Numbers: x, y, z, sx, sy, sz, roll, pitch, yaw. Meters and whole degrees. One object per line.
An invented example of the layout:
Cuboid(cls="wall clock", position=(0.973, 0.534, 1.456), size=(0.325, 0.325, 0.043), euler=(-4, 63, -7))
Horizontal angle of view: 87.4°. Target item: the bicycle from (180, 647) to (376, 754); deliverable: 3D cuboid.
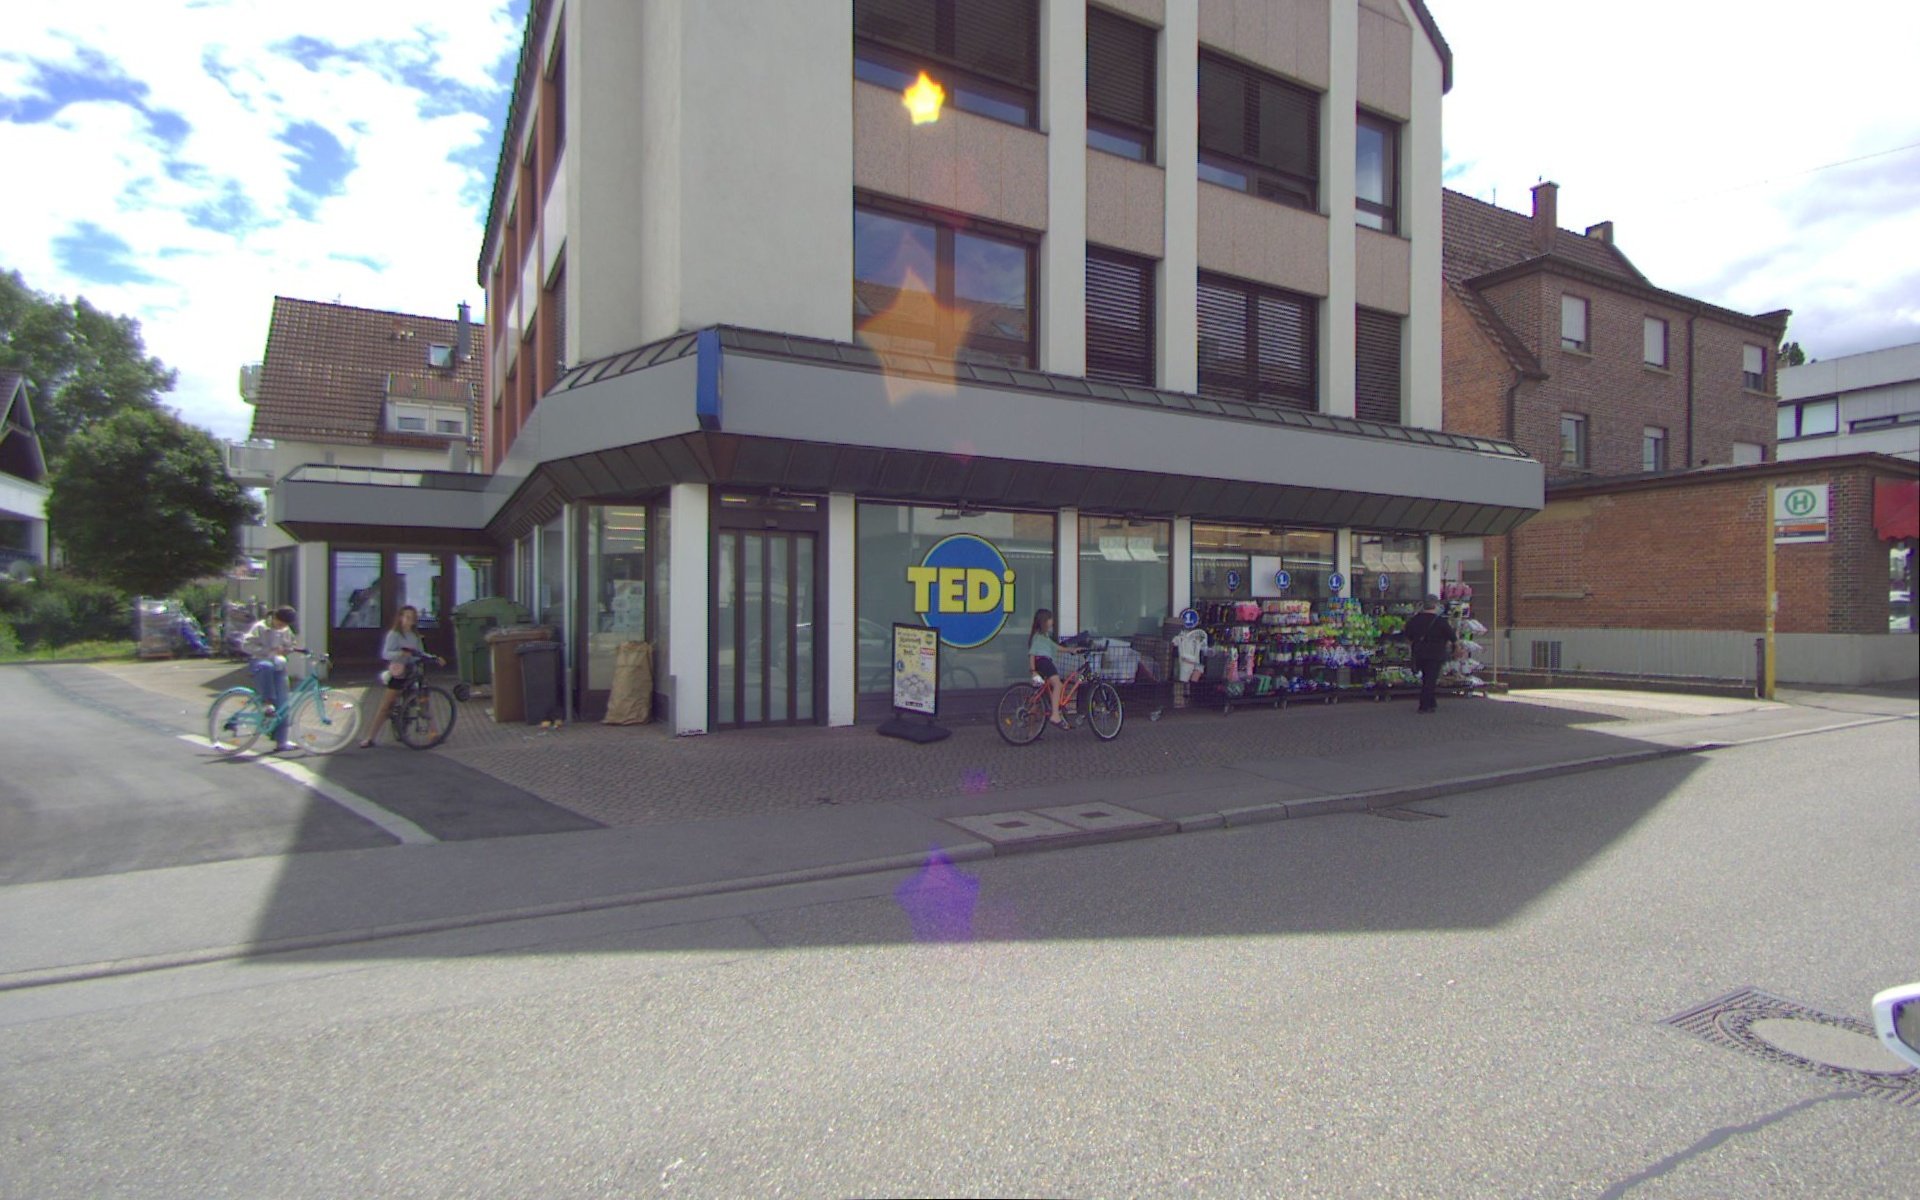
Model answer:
Cuboid(cls="bicycle", position=(-6.267, 0.913, 9.256), size=(1.557, 0.929, 0.459), euler=(0, 0, 6))

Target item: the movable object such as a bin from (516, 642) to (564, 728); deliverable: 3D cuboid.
Cuboid(cls="movable object such as a bin", position=(-4.764, 0.953, 11.394), size=(0.438, 0.923, 0.405), euler=(-2, 1, -30))

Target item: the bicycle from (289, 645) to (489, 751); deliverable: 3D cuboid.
Cuboid(cls="bicycle", position=(-5.509, 0.928, 9.723), size=(1.657, 0.967, 0.555), euler=(0, 0, 6))

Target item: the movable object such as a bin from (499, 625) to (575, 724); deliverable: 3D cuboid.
Cuboid(cls="movable object such as a bin", position=(-5.051, 0.865, 11.982), size=(0.729, 1.080, 0.680), euler=(-2, 1, -30))

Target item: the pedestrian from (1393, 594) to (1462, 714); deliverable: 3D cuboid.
Cuboid(cls="pedestrian", position=(6.418, 0.726, 13.814), size=(0.757, 1.579, 0.574), euler=(2, 0, 20))

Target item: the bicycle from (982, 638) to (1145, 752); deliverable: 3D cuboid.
Cuboid(cls="bicycle", position=(1.100, 0.964, 10.519), size=(1.714, 1.064, 0.441), euler=(1, 6, -31))

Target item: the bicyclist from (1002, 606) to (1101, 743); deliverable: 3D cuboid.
Cuboid(cls="bicyclist", position=(0.963, 0.759, 10.632), size=(0.753, 1.355, 0.664), euler=(0, 4, -30))

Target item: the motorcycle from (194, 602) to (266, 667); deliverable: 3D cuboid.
Cuboid(cls="motorcycle", position=(-18.478, 0.837, 25.512), size=(0.849, 1.539, 3.595), euler=(1, -1, -26))

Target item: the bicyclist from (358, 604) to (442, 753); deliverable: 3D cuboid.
Cuboid(cls="bicyclist", position=(-5.396, 0.734, 9.697), size=(0.416, 1.384, 0.589), euler=(-1, 1, 5))

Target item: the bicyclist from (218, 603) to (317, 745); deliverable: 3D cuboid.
Cuboid(cls="bicyclist", position=(-6.360, 0.661, 9.248), size=(0.418, 1.258, 0.642), euler=(1, 0, 3))
